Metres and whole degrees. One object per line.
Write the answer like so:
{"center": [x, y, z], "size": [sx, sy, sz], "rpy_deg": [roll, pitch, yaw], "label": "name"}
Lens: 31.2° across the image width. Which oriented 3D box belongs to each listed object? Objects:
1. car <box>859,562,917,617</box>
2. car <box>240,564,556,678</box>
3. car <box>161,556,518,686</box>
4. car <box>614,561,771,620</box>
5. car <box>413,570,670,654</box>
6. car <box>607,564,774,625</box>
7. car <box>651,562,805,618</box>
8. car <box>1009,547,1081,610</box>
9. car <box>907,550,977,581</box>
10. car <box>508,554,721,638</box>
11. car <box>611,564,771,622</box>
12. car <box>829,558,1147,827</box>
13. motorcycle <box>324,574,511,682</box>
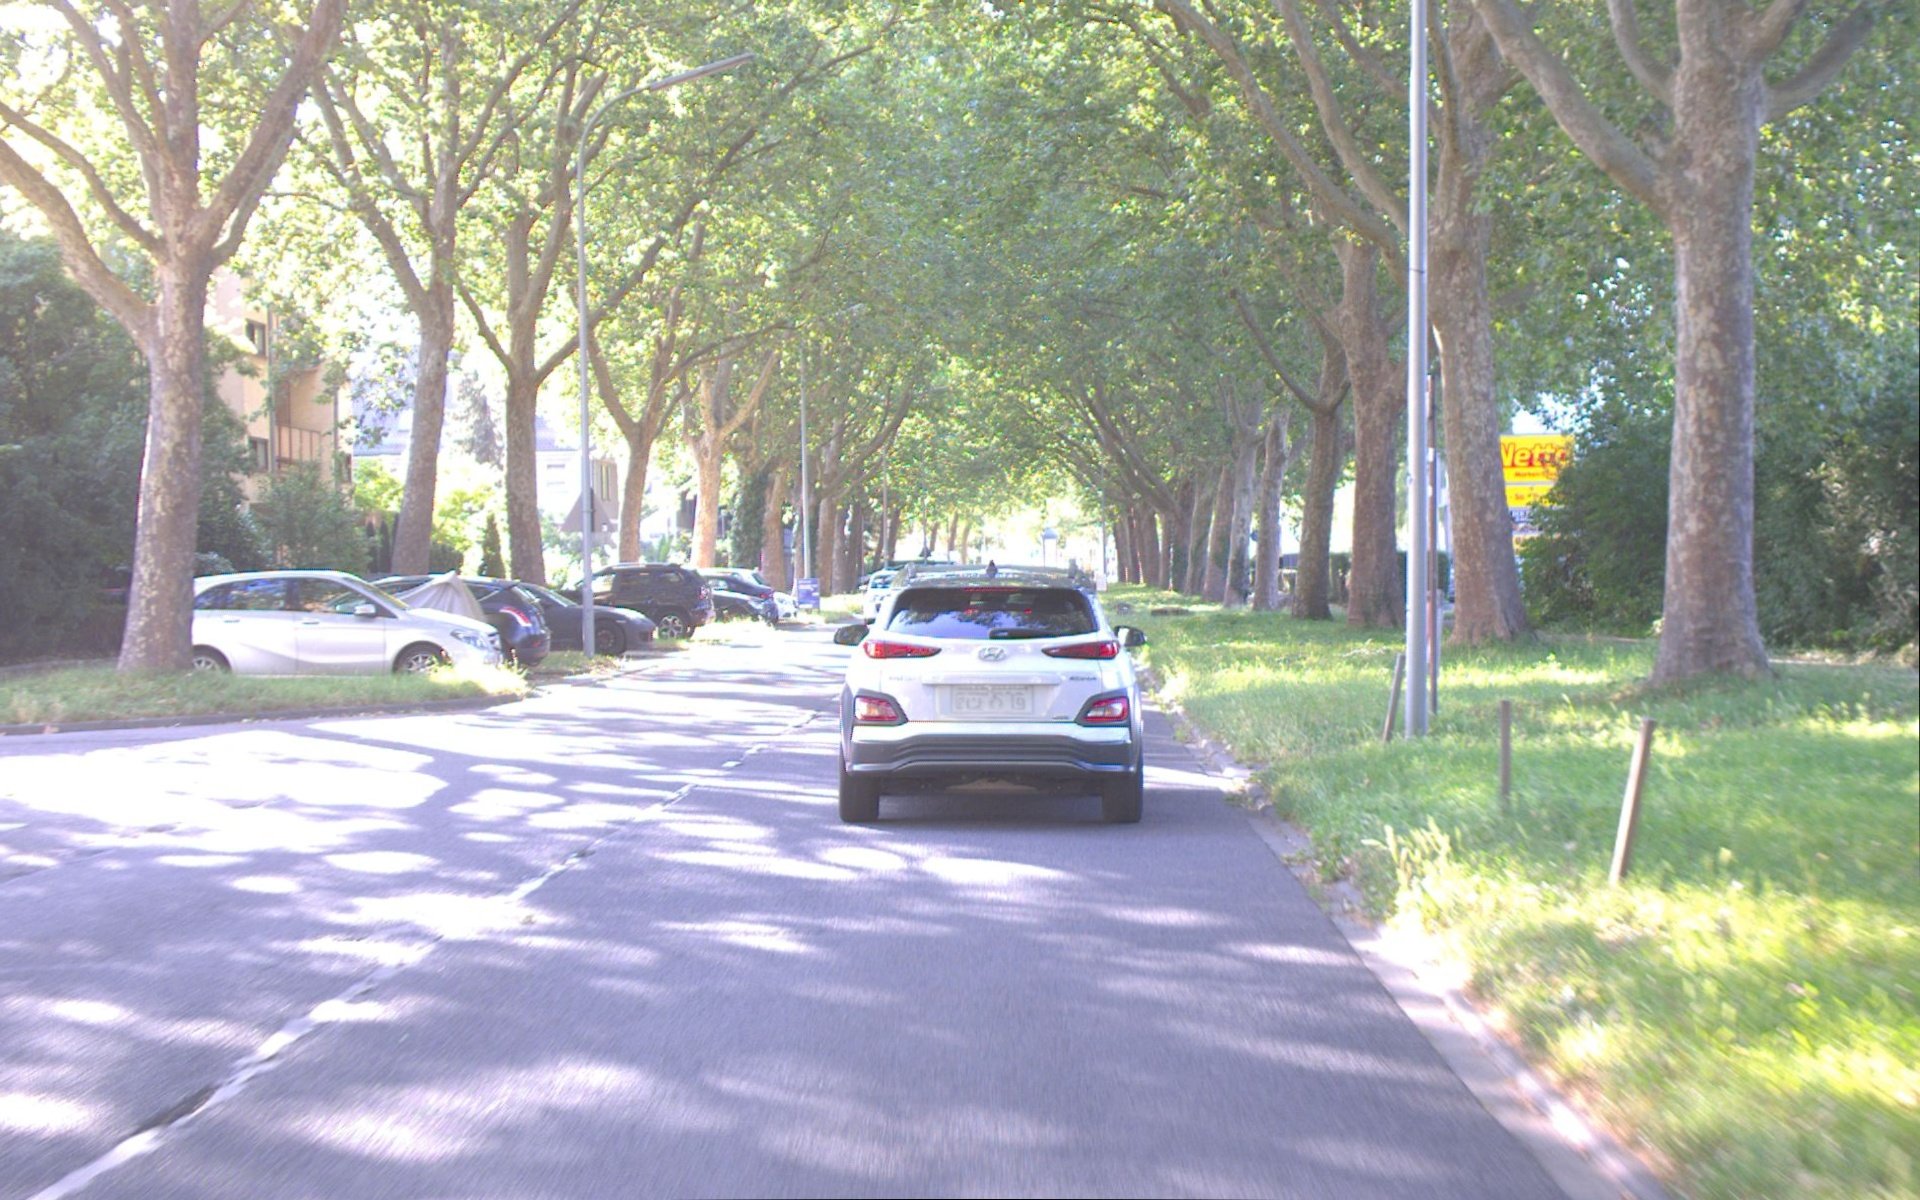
{"center": [-1.959, -0.299, 93.857], "size": [1.535, 1.454, 3.185], "rpy_deg": [-1, 1, -1], "label": "car"}
{"center": [-7.823, 0.281, 48.138], "size": [4.160, 1.501, 1.802], "rpy_deg": [-1, 1, -2], "label": "car"}
{"center": [-7.725, 0.247, 43.094], "size": [4.182, 1.579, 2.000], "rpy_deg": [0, 0, -3], "label": "car"}
{"center": [-7.032, -0.269, 90.611], "size": [3.987, 1.515, 1.809], "rpy_deg": [0, 1, 1], "label": "car"}
{"center": [-7.250, 0.193, 59.833], "size": [4.240, 1.348, 1.741], "rpy_deg": [-1, 0, 0], "label": "car"}
{"center": [-6.674, -0.147, 85.405], "size": [3.987, 1.465, 1.780], "rpy_deg": [0, 1, 1], "label": "car"}
{"center": [-6.260, -0.274, 93.036], "size": [3.987, 1.465, 1.809], "rpy_deg": [0, 1, 3], "label": "car"}
{"center": [2.322, -0.593, 94.352], "size": [1.676, 1.690, 3.745], "rpy_deg": [0, 1, -3], "label": "car"}
{"center": [-1.042, -2.018, 199.719], "size": [3.986, 1.766, 2.000], "rpy_deg": [0, 0, -3], "label": "car"}
{"center": [-7.212, -0.092, 71.930], "size": [4.244, 1.674, 1.671], "rpy_deg": [-1, 1, 2], "label": "car"}
{"center": [-6.819, -0.183, 87.543], "size": [3.986, 1.419, 1.809], "rpy_deg": [0, 1, -2], "label": "car"}
{"center": [0.138, 0.522, 21.807], "size": [1.835, 1.550, 4.000], "rpy_deg": [0, 0, -1], "label": "car"}
{"center": [-7.179, 0.361, 45.582], "size": [2.385, 1.383, 0.648], "rpy_deg": [-1, 1, -4], "label": "motorcycle"}
